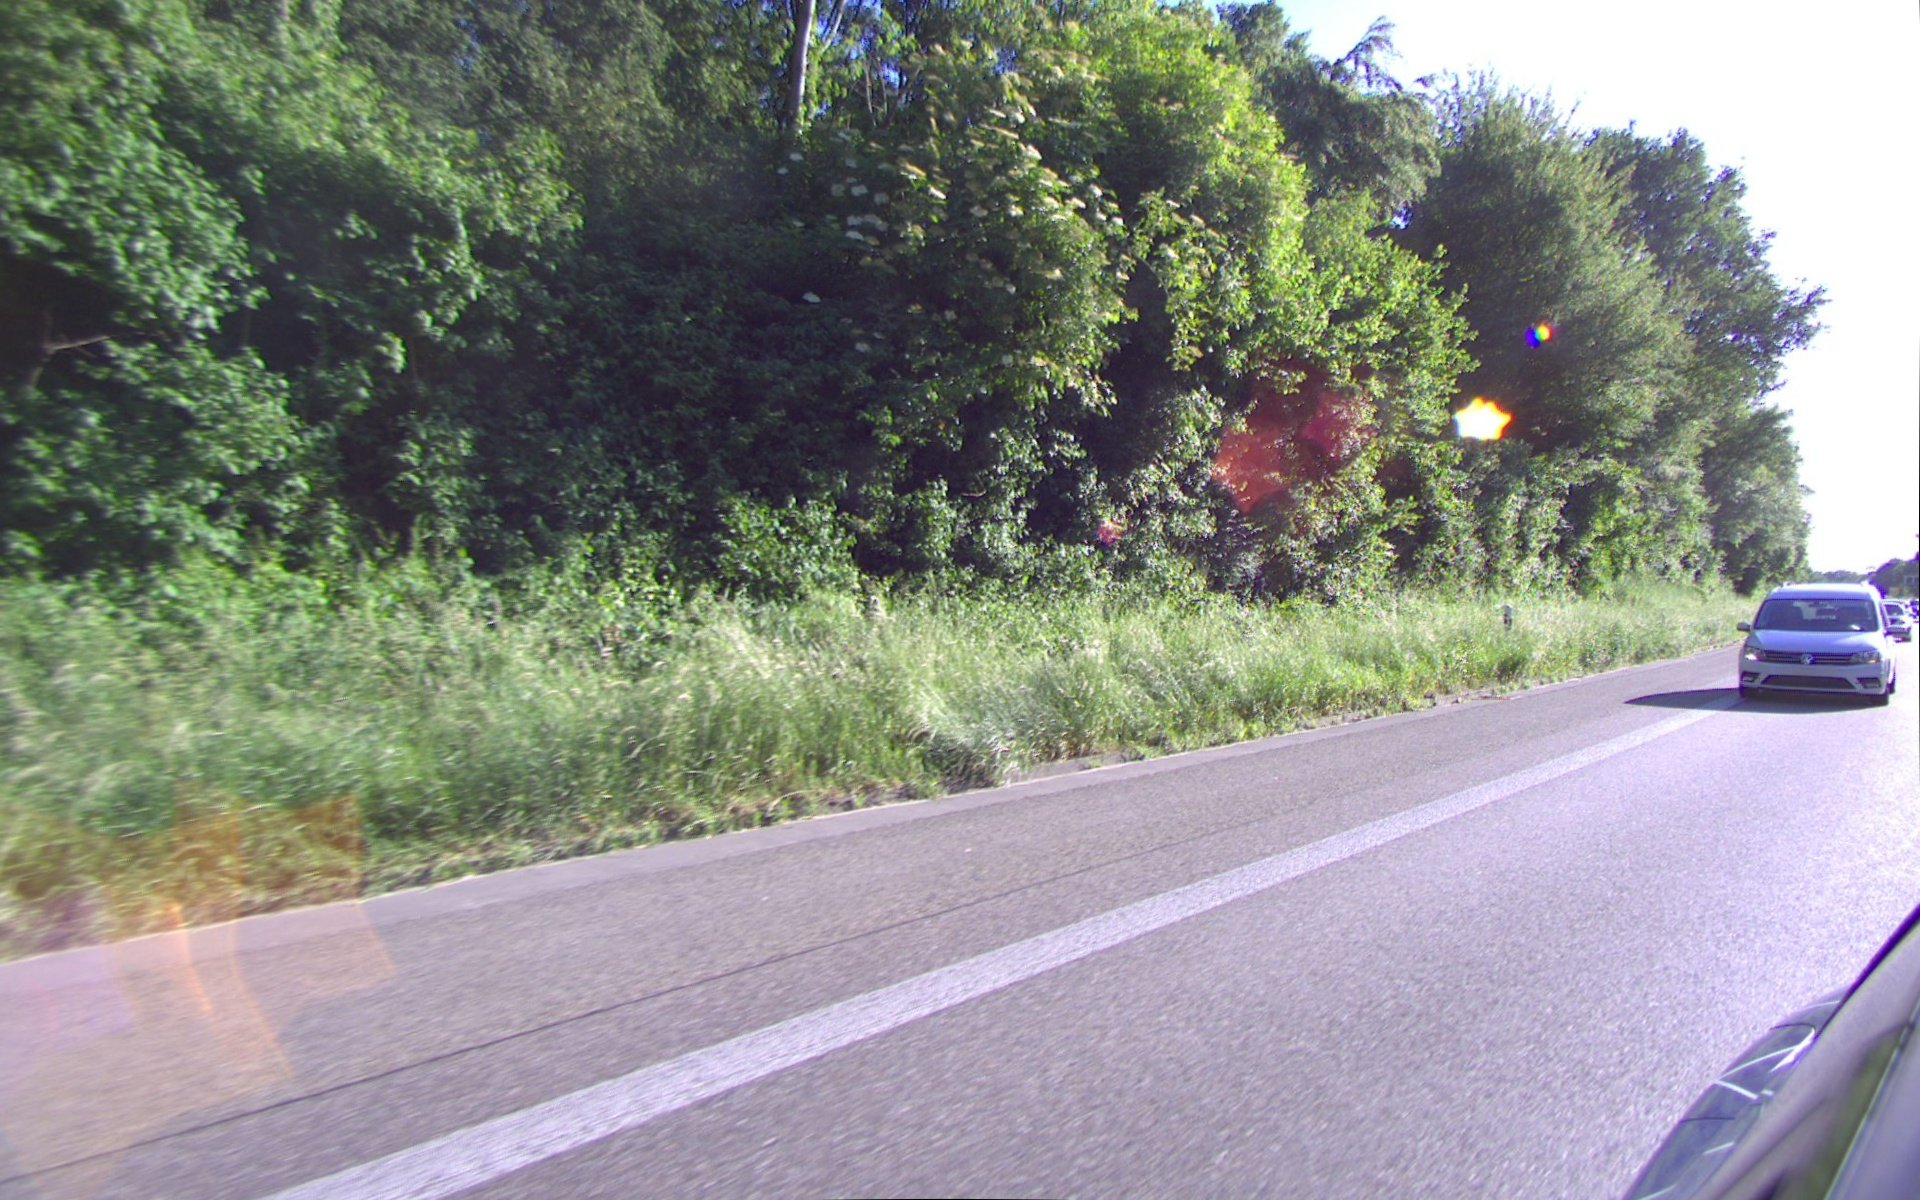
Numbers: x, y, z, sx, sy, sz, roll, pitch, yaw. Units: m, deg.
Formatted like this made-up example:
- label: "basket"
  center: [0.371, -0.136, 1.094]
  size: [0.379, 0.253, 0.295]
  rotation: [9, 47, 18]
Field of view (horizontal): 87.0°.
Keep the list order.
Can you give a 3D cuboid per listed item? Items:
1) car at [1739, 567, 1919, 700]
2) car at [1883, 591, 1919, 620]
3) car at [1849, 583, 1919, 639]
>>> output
- label: "car"
  center: [14.102, 0.436, 16.298]
  size: [4.753, 1.829, 1.796]
  rotation: [-1, 0, -44]
- label: "car"
  center: [59.013, 0.341, 63.208]
  size: [1.929, 1.526, 5.008]
  rotation: [-1, 2, 43]
- label: "car"
  center: [36.239, 0.364, 39.382]
  size: [2.250, 1.876, 5.063]
  rotation: [-1, 2, 44]
